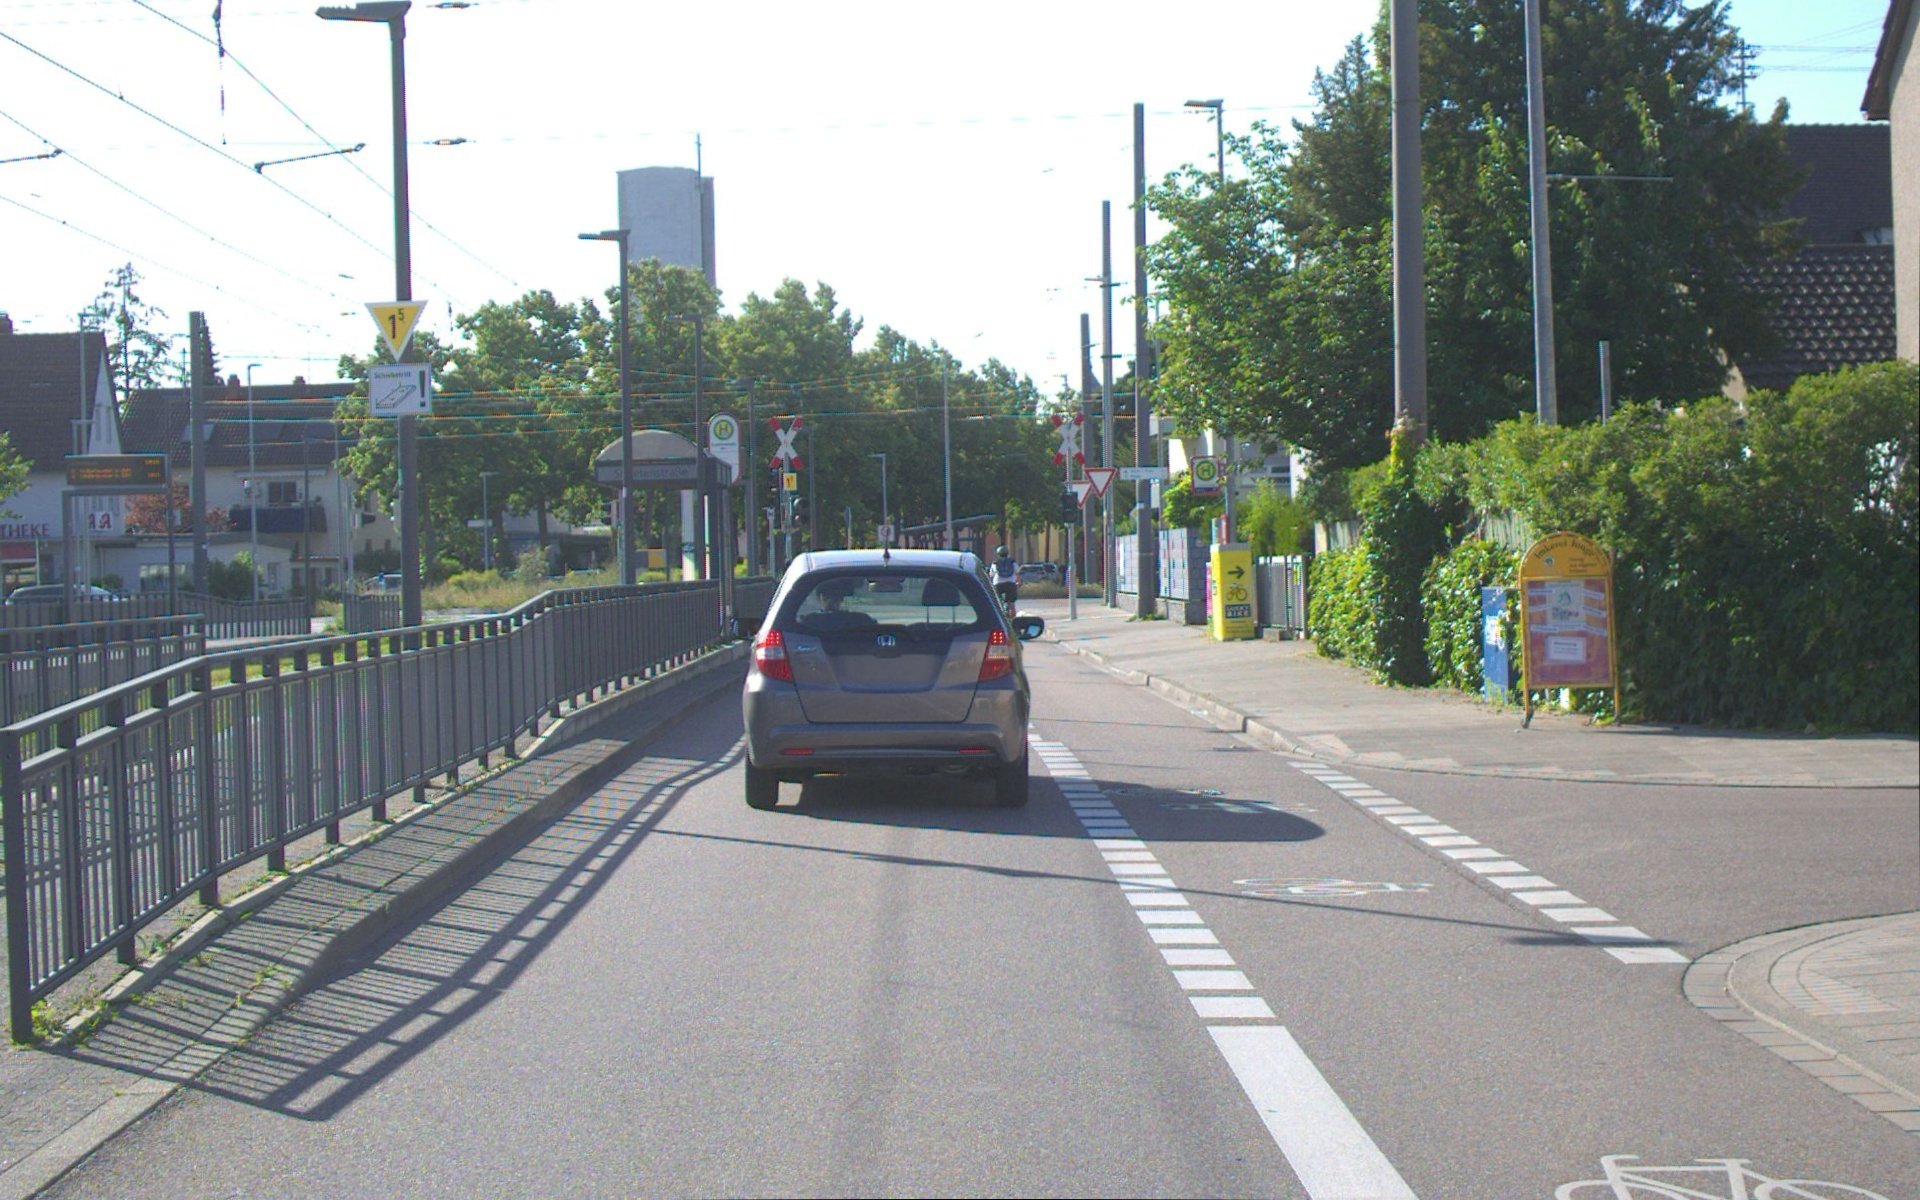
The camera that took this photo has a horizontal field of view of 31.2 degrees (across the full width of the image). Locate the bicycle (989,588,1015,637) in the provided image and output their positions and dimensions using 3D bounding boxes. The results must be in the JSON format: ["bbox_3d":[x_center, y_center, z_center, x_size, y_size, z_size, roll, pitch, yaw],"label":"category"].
[{"bbox_3d":[0.829,0.246,67.445,0.475,0.958,1.657,0,0,0],"label":"bicycle"}]

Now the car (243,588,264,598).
[{"bbox_3d":[-25.922,-0.260,126.206,0.699,0.335,0.329,0,0,4],"label":"car"}]

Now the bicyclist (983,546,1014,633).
[{"bbox_3d":[0.750,-0.205,67.269,0.598,1.695,0.683,0,0,0],"label":"bicyclist"}]

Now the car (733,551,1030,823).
[{"bbox_3d":[-0.487,0.485,21.234,1.670,1.530,3.487,1,0,-1],"label":"car"}]
